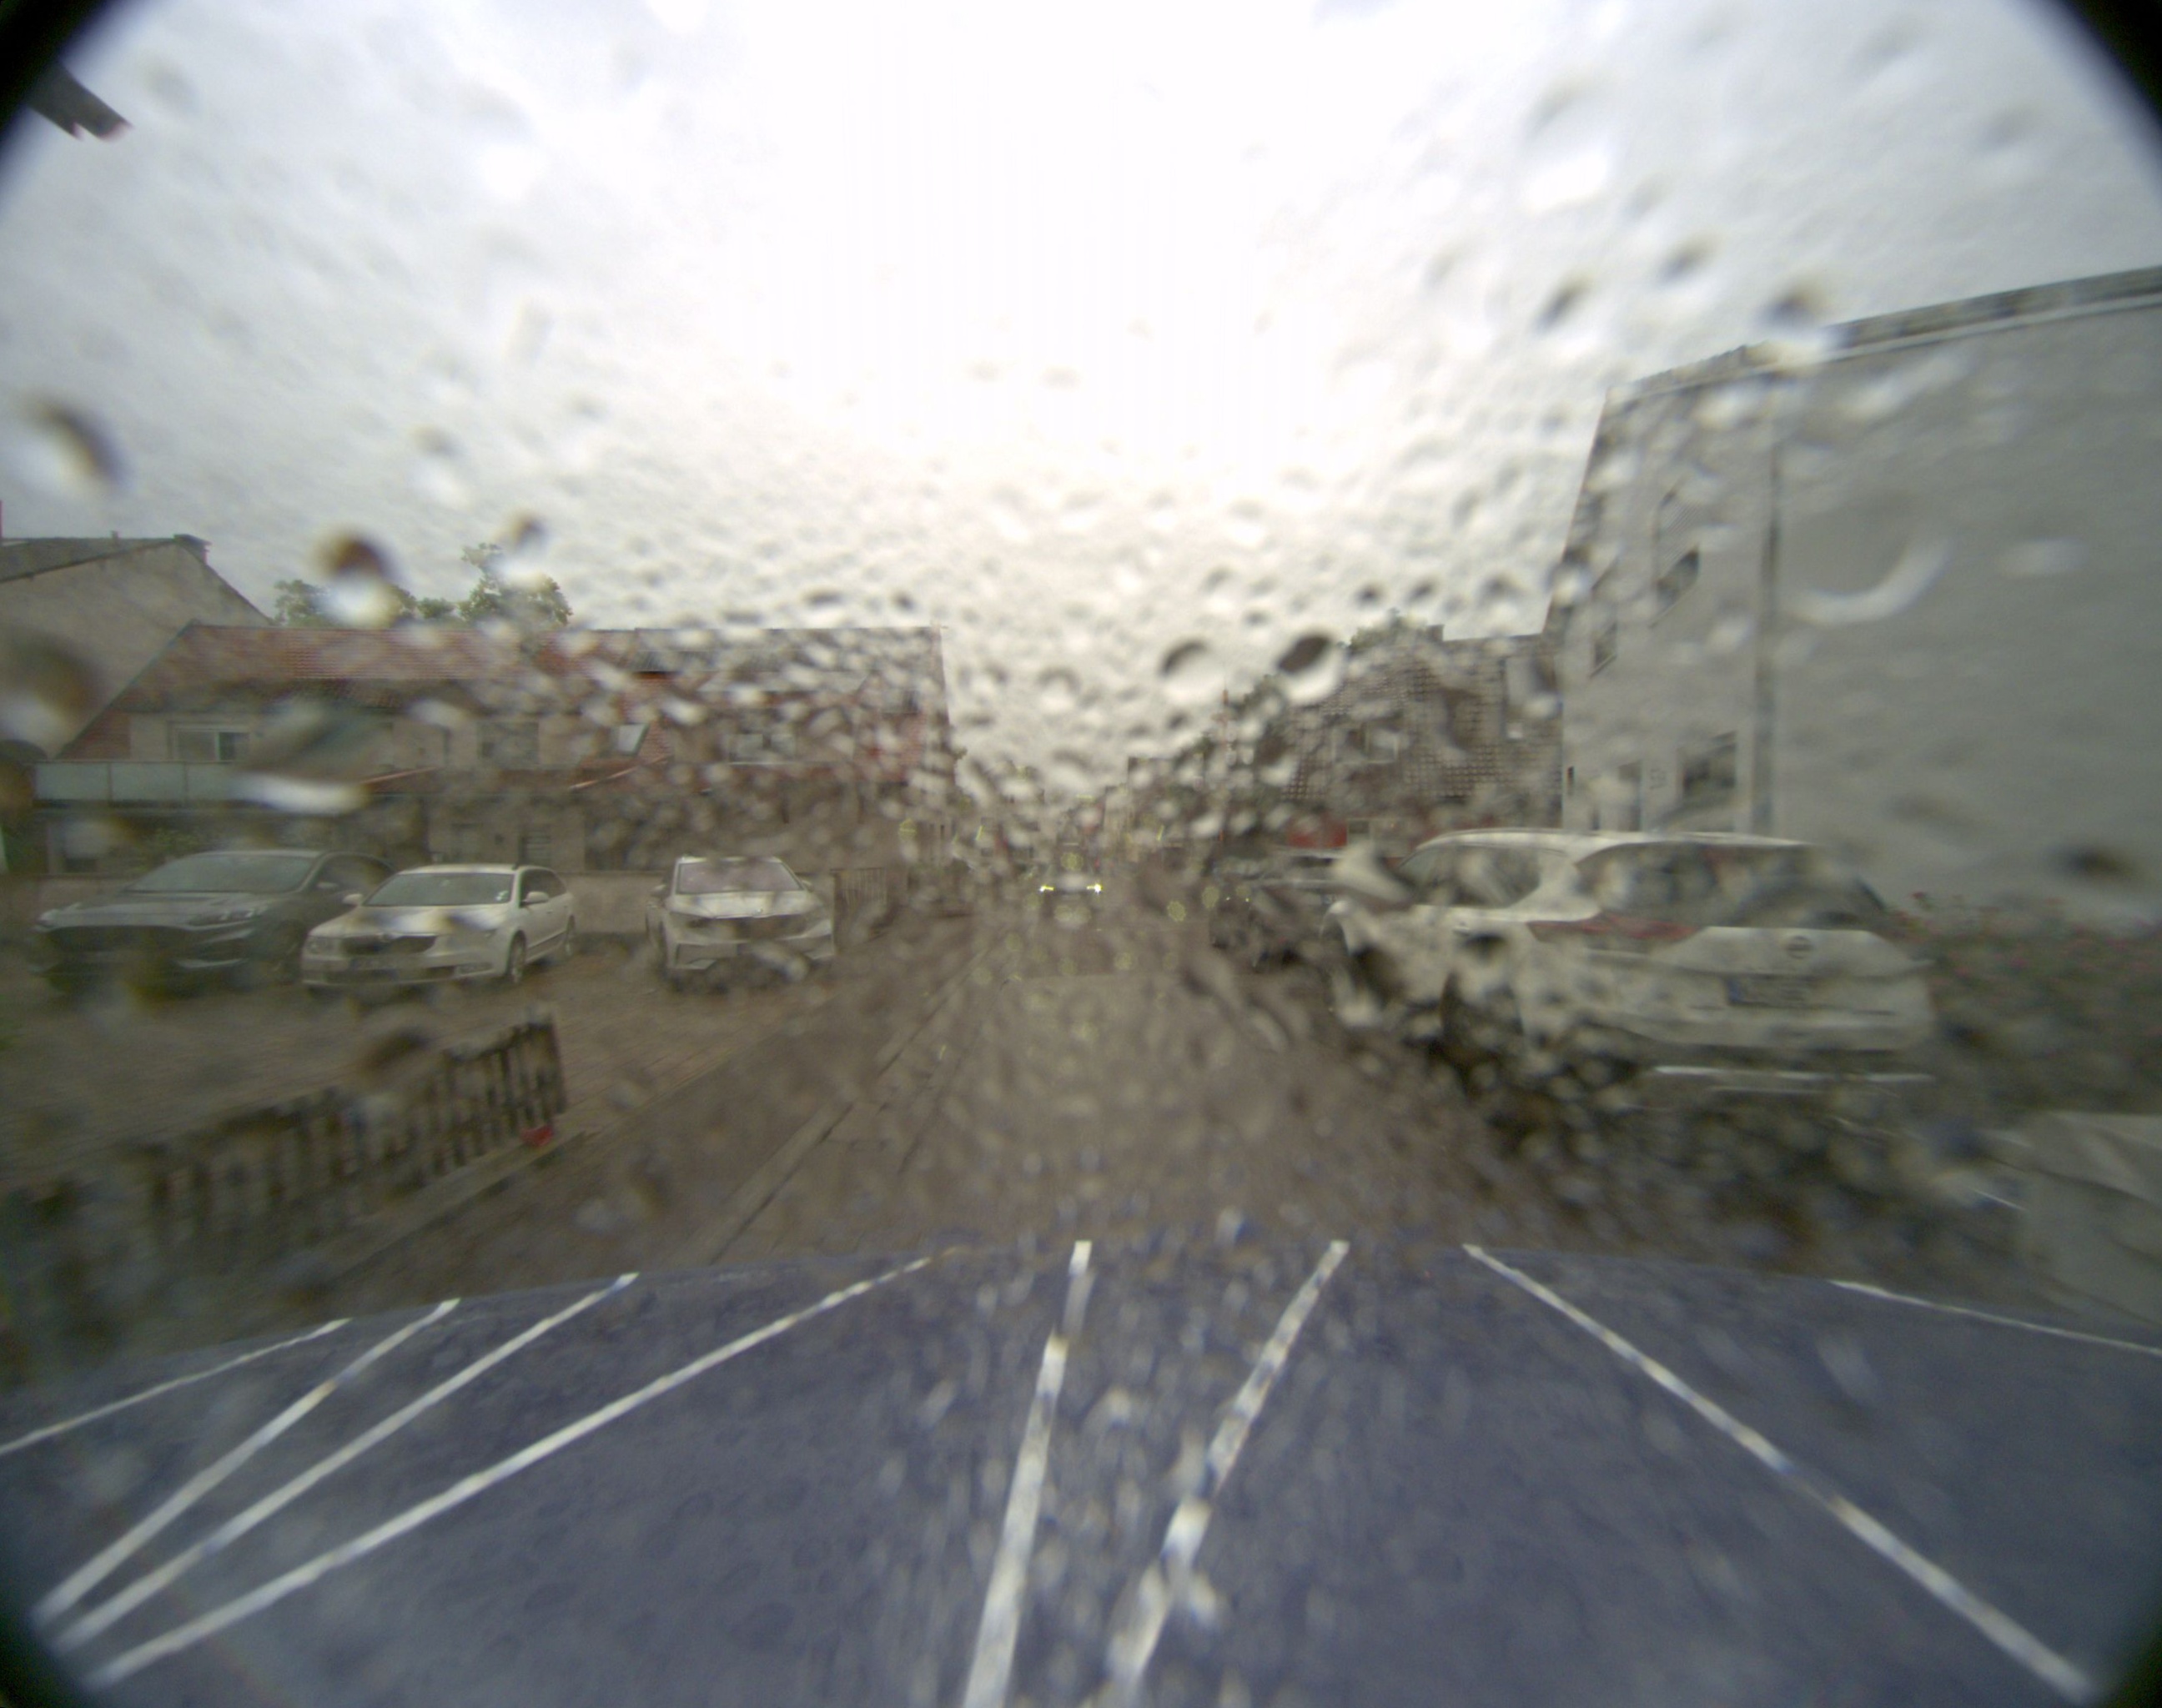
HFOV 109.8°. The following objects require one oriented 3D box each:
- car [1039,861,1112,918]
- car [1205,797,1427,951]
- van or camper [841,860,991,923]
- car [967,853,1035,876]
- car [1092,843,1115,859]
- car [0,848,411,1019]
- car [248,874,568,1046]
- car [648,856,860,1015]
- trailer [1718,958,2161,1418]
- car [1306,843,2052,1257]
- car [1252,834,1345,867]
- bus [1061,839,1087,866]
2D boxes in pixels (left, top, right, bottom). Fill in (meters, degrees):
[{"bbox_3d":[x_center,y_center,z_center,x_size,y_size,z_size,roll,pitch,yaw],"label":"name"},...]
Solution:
[{"bbox_3d":[-0.110,0.921,21.266,1.801,1.342,3.738,-2,0,1],"label":"car"},{"bbox_3d":[3.068,0.227,10.848,1.817,1.769,4.016,-1,0,-2],"label":"car"},{"bbox_3d":[-6.007,1.337,28.108,5.083,1.912,1.875,-3,1,-3],"label":"van or camper"},{"bbox_3d":[-5.474,0.730,52.133,4.234,1.472,1.697,-1,1,15],"label":"car"},{"bbox_3d":[2.138,-0.286,72.150,1.849,1.468,4.313,0,0,-2],"label":"car"},{"bbox_3d":[-10.565,0.812,9.665,1.812,1.666,4.213,1,-1,-23],"label":"car"},{"bbox_3d":[-7.877,1.057,9.451,1.879,1.508,4.283,-1,0,-26],"label":"car"},{"bbox_3d":[-4.656,0.944,10.359,1.880,1.580,4.609,-3,-1,-33],"label":"car"},{"bbox_3d":[3.134,0.849,1.485,1.487,0.824,2.675,1,2,-1],"label":"trailer"},{"bbox_3d":[3.093,0.778,5.332,1.753,1.627,4.417,1,2,1],"label":"car"},{"bbox_3d":[11.268,-0.181,39.303,4.451,1.541,1.885,-2,0,21],"label":"car"},{"bbox_3d":[-1.202,-0.350,116.708,2.894,3.590,11.969,-1,2,-6],"label":"bus"}]
